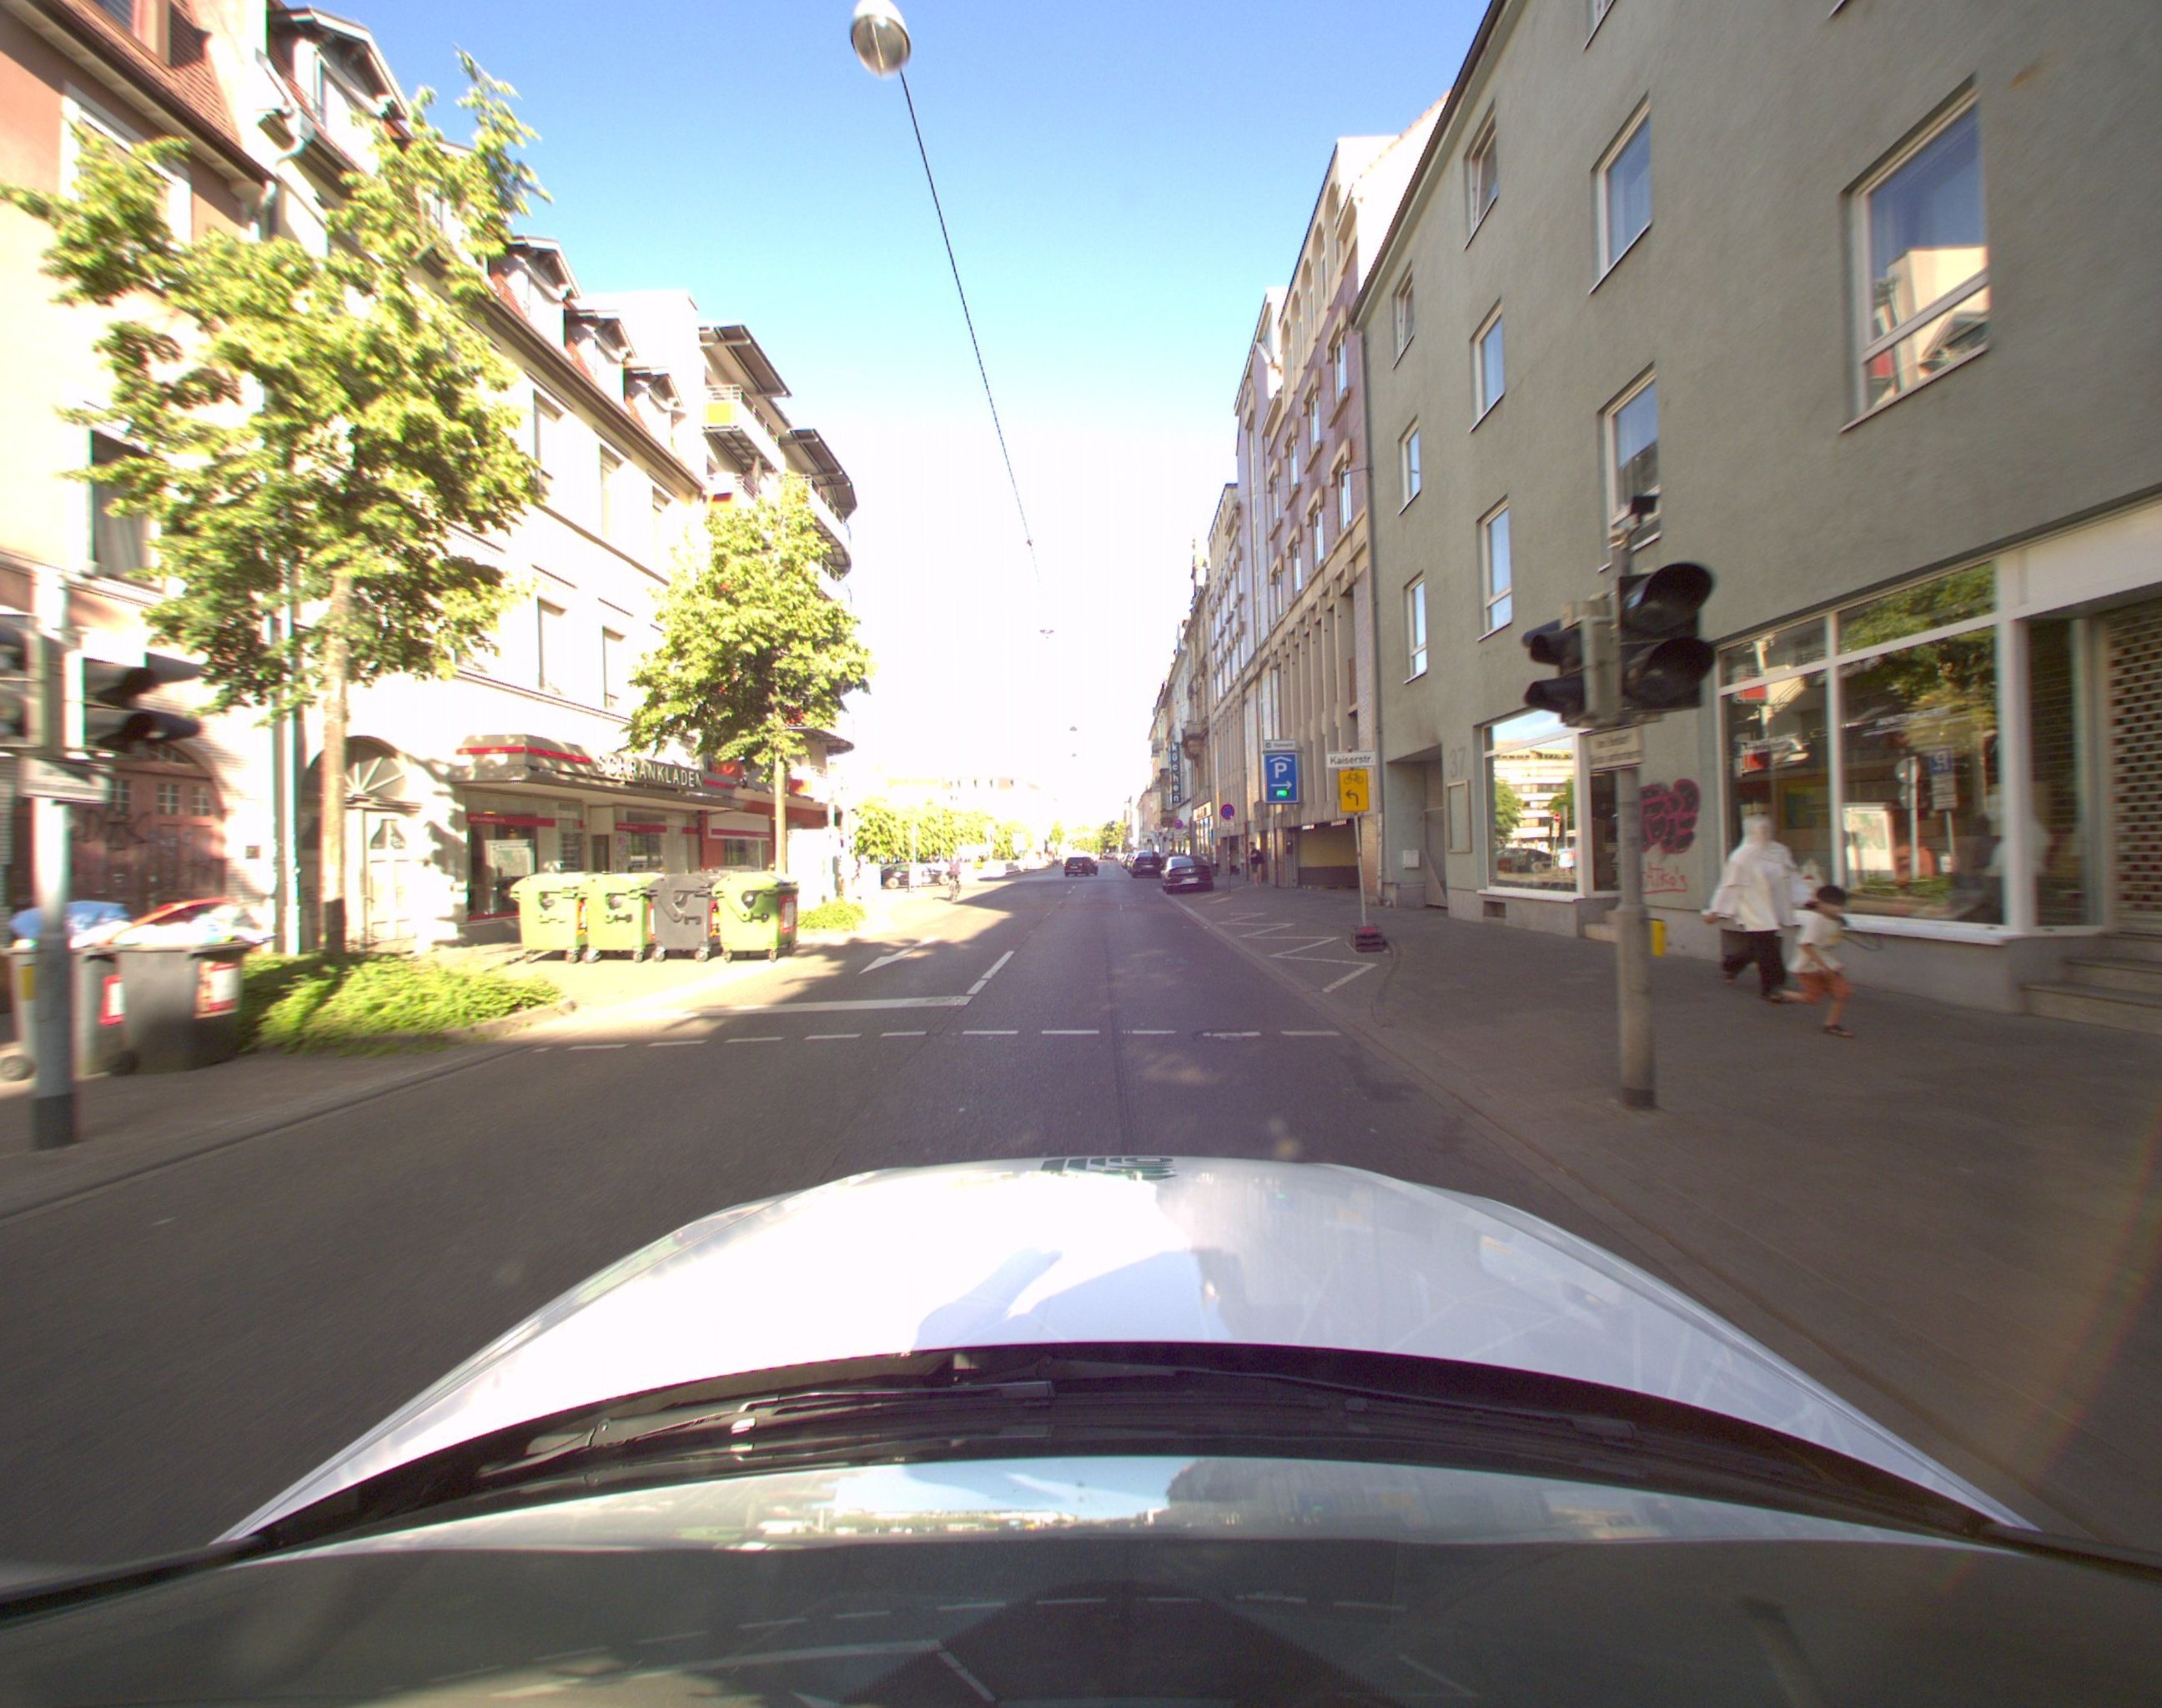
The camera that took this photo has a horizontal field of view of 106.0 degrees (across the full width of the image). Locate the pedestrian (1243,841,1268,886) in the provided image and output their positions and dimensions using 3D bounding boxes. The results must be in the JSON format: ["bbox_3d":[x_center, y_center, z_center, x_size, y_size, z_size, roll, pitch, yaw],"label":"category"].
[{"bbox_3d":[6.644,0.359,31.044,0.689,1.635,0.889,-4,0,1],"label":"pedestrian"}]

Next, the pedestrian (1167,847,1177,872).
[{"bbox_3d":[6.349,0.374,57.063,0.617,1.766,0.519,-2,0,4],"label":"pedestrian"}]

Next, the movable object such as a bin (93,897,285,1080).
[{"bbox_3d":[-7.227,1.052,6.641,0.632,1.341,0.805,-2,0,0],"label":"movable object such as a bin"}]

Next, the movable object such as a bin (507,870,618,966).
[{"bbox_3d":[-8.515,1.022,13.429,1.038,1.471,1.143,-2,0,0],"label":"movable object such as a bin"}]

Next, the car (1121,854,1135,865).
[{"bbox_3d":[6.054,0.733,105.477,1.785,1.460,3.869,0,-1,2],"label":"car"}]

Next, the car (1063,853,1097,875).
[{"bbox_3d":[-0.036,0.703,59.234,1.925,1.487,4.279,-1,0,6],"label":"car"}]

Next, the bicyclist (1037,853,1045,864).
[{"bbox_3d":[-6.337,0.659,128.266,1.143,1.686,0.819,-1,0,-2],"label":"bicyclist"}]

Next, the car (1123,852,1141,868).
[{"bbox_3d":[5.463,0.650,88.236,1.710,1.636,4.083,0,-1,0],"label":"car"}]

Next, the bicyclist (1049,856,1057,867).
[{"bbox_3d":[-4.513,1.173,130.438,1.140,1.686,0.916,-1,0,5],"label":"bicyclist"}]

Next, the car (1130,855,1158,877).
[{"bbox_3d":[4.533,0.849,58.980,1.832,1.487,4.186,0,0,2],"label":"car"}]

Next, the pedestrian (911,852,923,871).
[{"bbox_3d":[-17.761,0.796,88.138,0.725,2.108,0.973,-1,0,24],"label":"pedestrian"}]

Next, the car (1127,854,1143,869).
[{"bbox_3d":[5.465,0.735,82.164,1.607,1.546,2.857,0,0,3],"label":"car"}]

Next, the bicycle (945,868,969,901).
[{"bbox_3d":[-4.620,1.127,30.368,0.704,1.146,1.964,-2,0,-5],"label":"bicycle"}]

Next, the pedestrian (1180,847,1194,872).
[{"bbox_3d":[7.402,0.373,56.843,0.797,1.675,0.590,-3,-1,4],"label":"pedestrian"}]

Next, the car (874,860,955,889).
[{"bbox_3d":[-9.637,1.165,47.099,4.487,1.480,1.992,-2,0,-14],"label":"car"}]

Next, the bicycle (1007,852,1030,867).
[{"bbox_3d":[-8.776,0.757,114.237,3.101,2.013,0.911,-1,0,10],"label":"bicycle"}]

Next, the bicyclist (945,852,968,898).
[{"bbox_3d":[-4.639,0.763,30.383,0.695,1.653,1.034,-2,0,-5],"label":"bicyclist"}]

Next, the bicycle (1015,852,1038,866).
[{"bbox_3d":[-7.957,0.696,119.336,3.101,2.013,0.911,-1,0,10],"label":"bicycle"}]

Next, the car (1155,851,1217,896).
[{"bbox_3d":[4.092,0.703,32.557,1.910,1.478,4.967,-5,0,2],"label":"car"}]

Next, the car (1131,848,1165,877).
[{"bbox_3d":[4.234,0.509,52.035,1.966,1.725,4.826,0,0,2],"label":"car"}]

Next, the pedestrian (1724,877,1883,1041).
[{"bbox_3d":[5.057,0.703,5.740,0.392,1.033,0.740,-4,0,0],"label":"pedestrian"}]

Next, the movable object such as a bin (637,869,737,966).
[{"bbox_3d":[-6.470,1.011,13.446,1.038,1.471,1.143,-2,0,0],"label":"movable object such as a bin"}]

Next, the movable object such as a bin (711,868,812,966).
[{"bbox_3d":[-5.247,1.002,13.484,1.038,1.471,1.452,-2,0,0],"label":"movable object such as a bin"}]

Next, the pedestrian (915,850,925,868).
[{"bbox_3d":[-19.211,0.631,97.035,0.725,2.108,0.973,-1,0,24],"label":"pedestrian"}]

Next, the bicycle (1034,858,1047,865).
[{"bbox_3d":[-6.380,1.194,128.257,2.006,1.022,0.762,-1,0,-2],"label":"bicycle"}]

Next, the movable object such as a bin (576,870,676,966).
[{"bbox_3d":[-7.485,1.028,13.448,0.960,1.471,1.143,-2,0,0],"label":"movable object such as a bin"}]

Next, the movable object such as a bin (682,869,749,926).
[{"bbox_3d":[-9.241,1.073,20.660,1.038,1.345,1.314,-2,0,0],"label":"movable object such as a bin"}]

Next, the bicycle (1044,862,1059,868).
[{"bbox_3d":[-4.726,1.800,130.450,2.233,0.883,0.925,-1,0,5],"label":"bicycle"}]

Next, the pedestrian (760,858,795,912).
[{"bbox_3d":[-9.725,0.967,26.104,0.662,1.659,1.037,-2,0,1],"label":"pedestrian"}]

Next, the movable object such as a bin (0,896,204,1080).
[{"bbox_3d":[-7.955,1.045,6.613,0.752,1.341,0.805,-2,0,0],"label":"movable object such as a bin"}]

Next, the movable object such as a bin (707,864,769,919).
[{"bbox_3d":[-9.238,0.984,21.992,1.038,1.404,1.314,-2,0,0],"label":"movable object such as a bin"}]

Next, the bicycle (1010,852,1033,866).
[{"bbox_3d":[-8.451,0.731,116.179,3.101,2.013,0.911,-1,0,10],"label":"bicycle"}]

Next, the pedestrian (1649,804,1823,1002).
[{"bbox_3d":[5.640,0.396,7.082,0.578,1.559,1.021,-4,0,0],"label":"pedestrian"}]
